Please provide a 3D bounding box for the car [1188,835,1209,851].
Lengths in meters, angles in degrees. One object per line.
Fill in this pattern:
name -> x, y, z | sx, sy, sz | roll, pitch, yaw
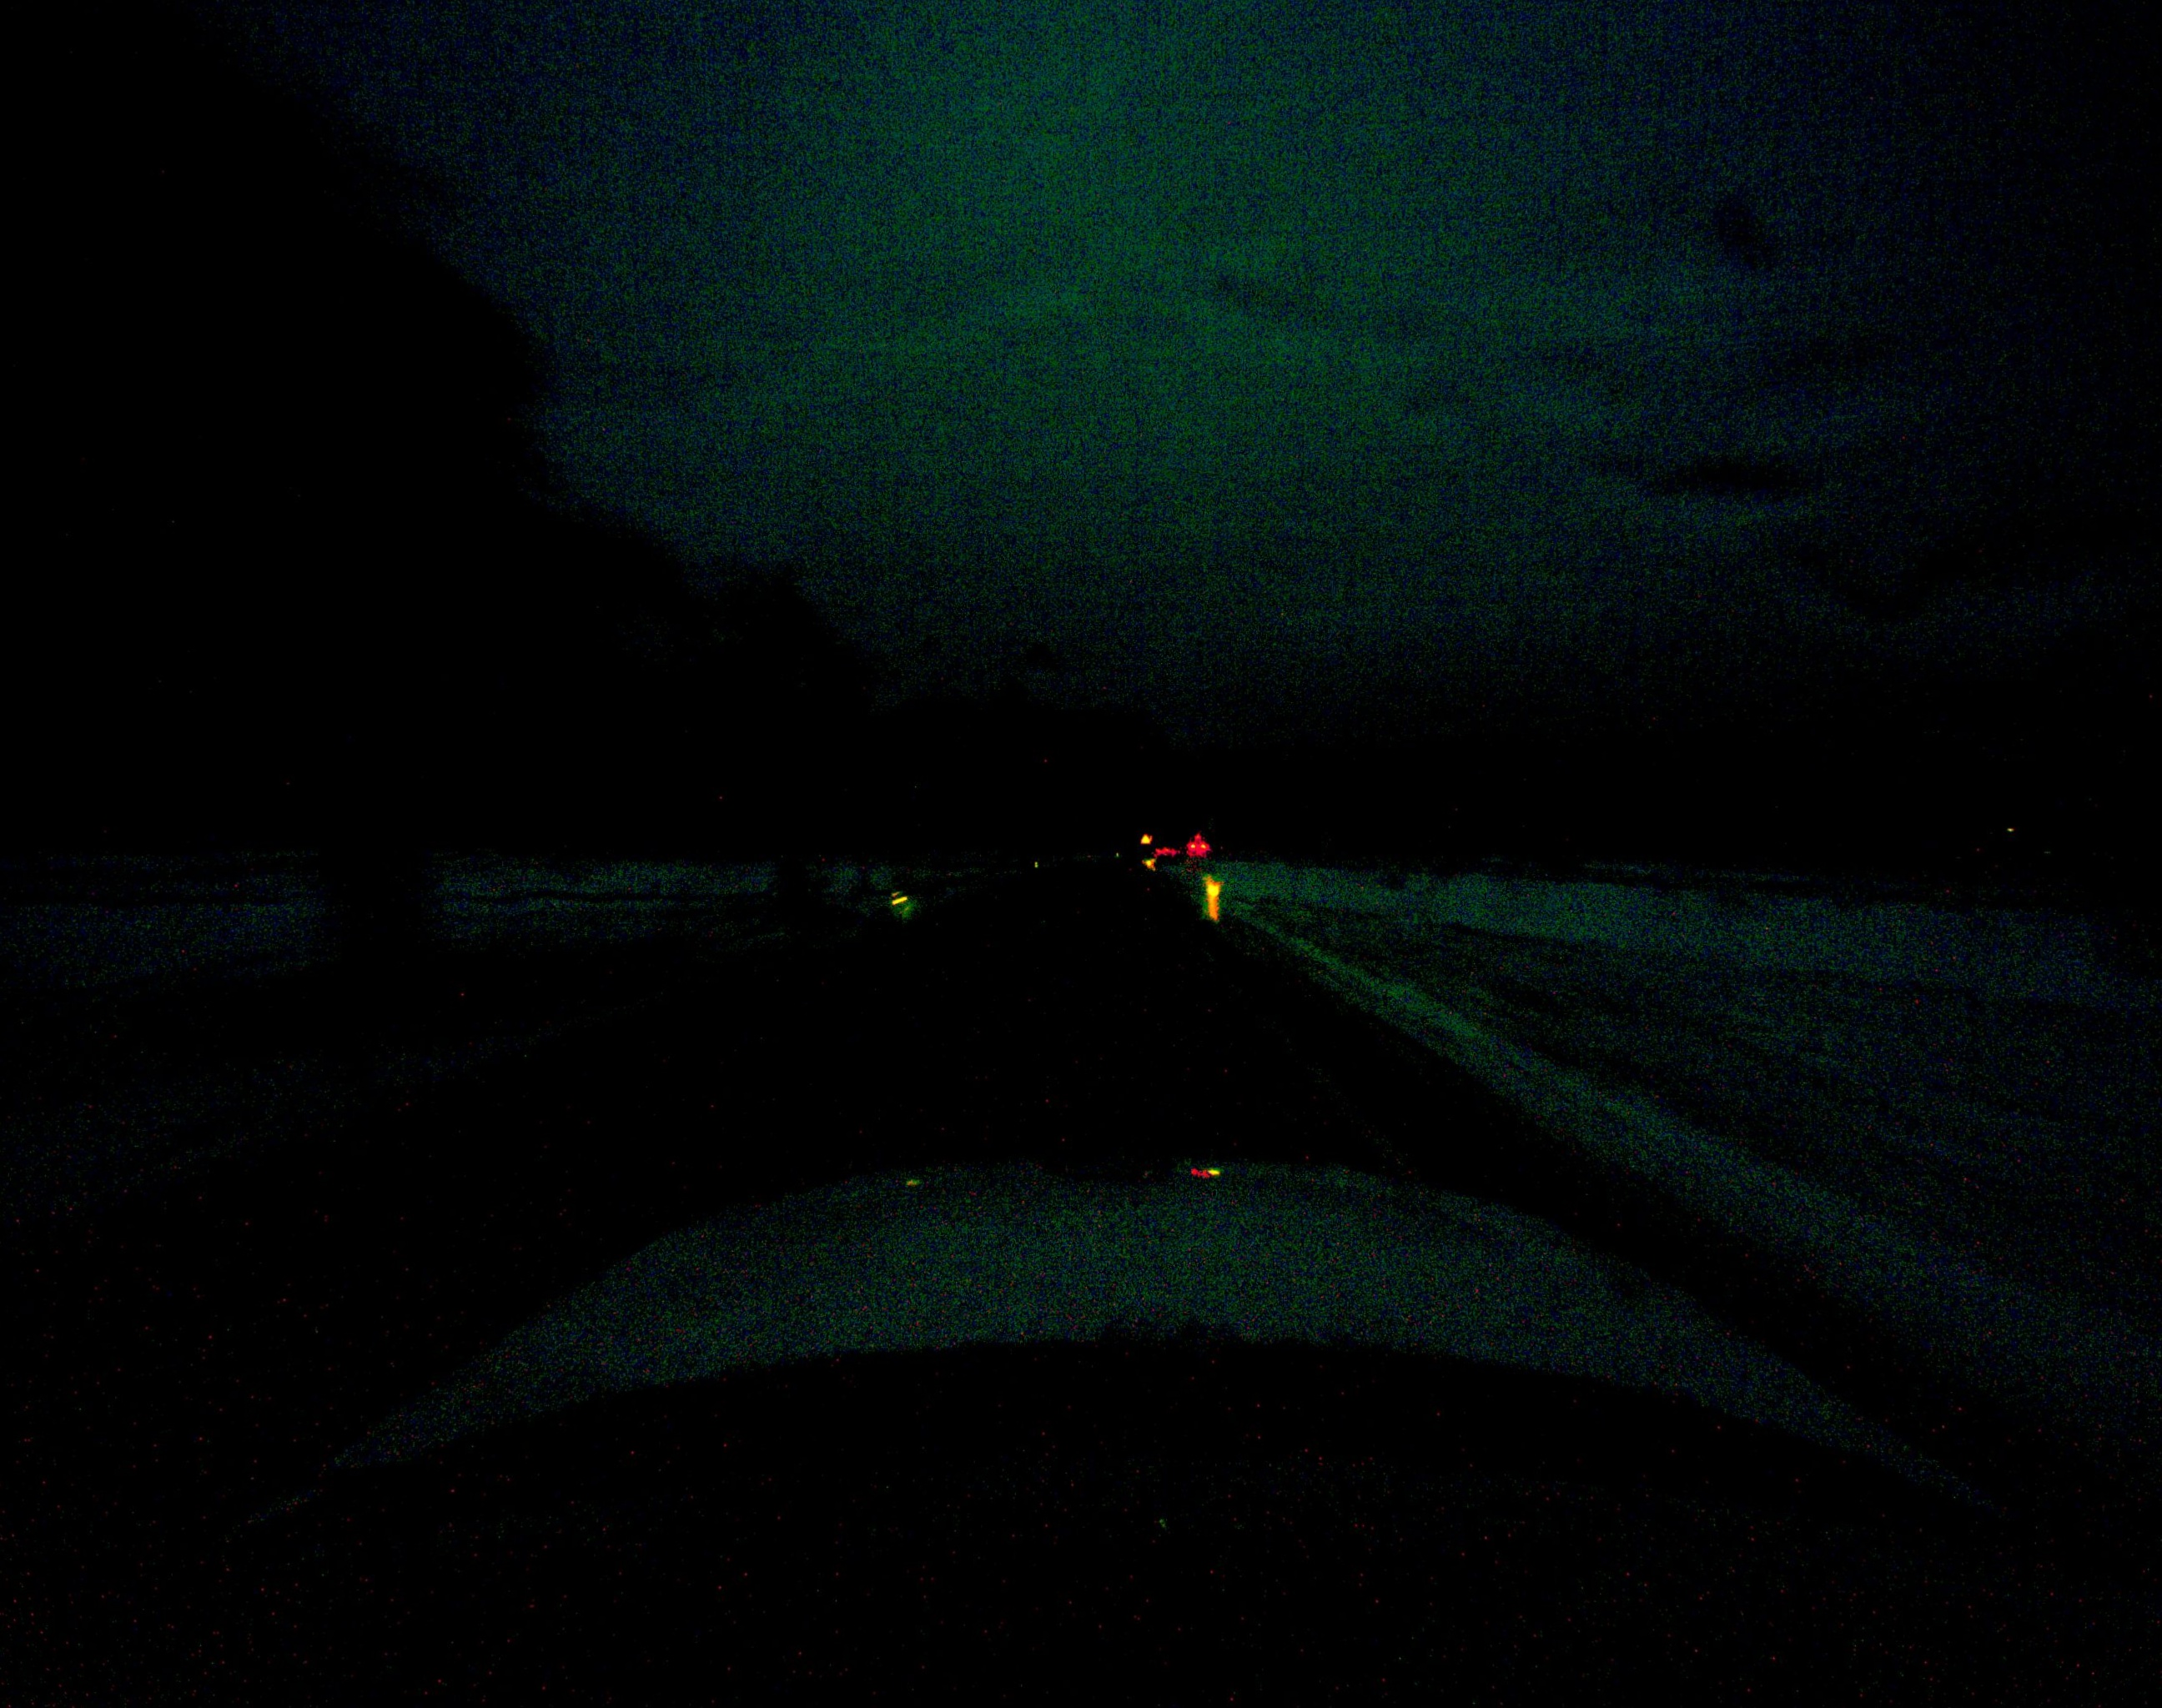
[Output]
car -> 19.899, -1.830, 137.504 | 2.232, 2.645, 5.035 | 0, 1, 25

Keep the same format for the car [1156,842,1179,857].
car -> 12.060, -0.665, 113.597 | 1.976, 2.051, 4.022 | 3, 1, 23
